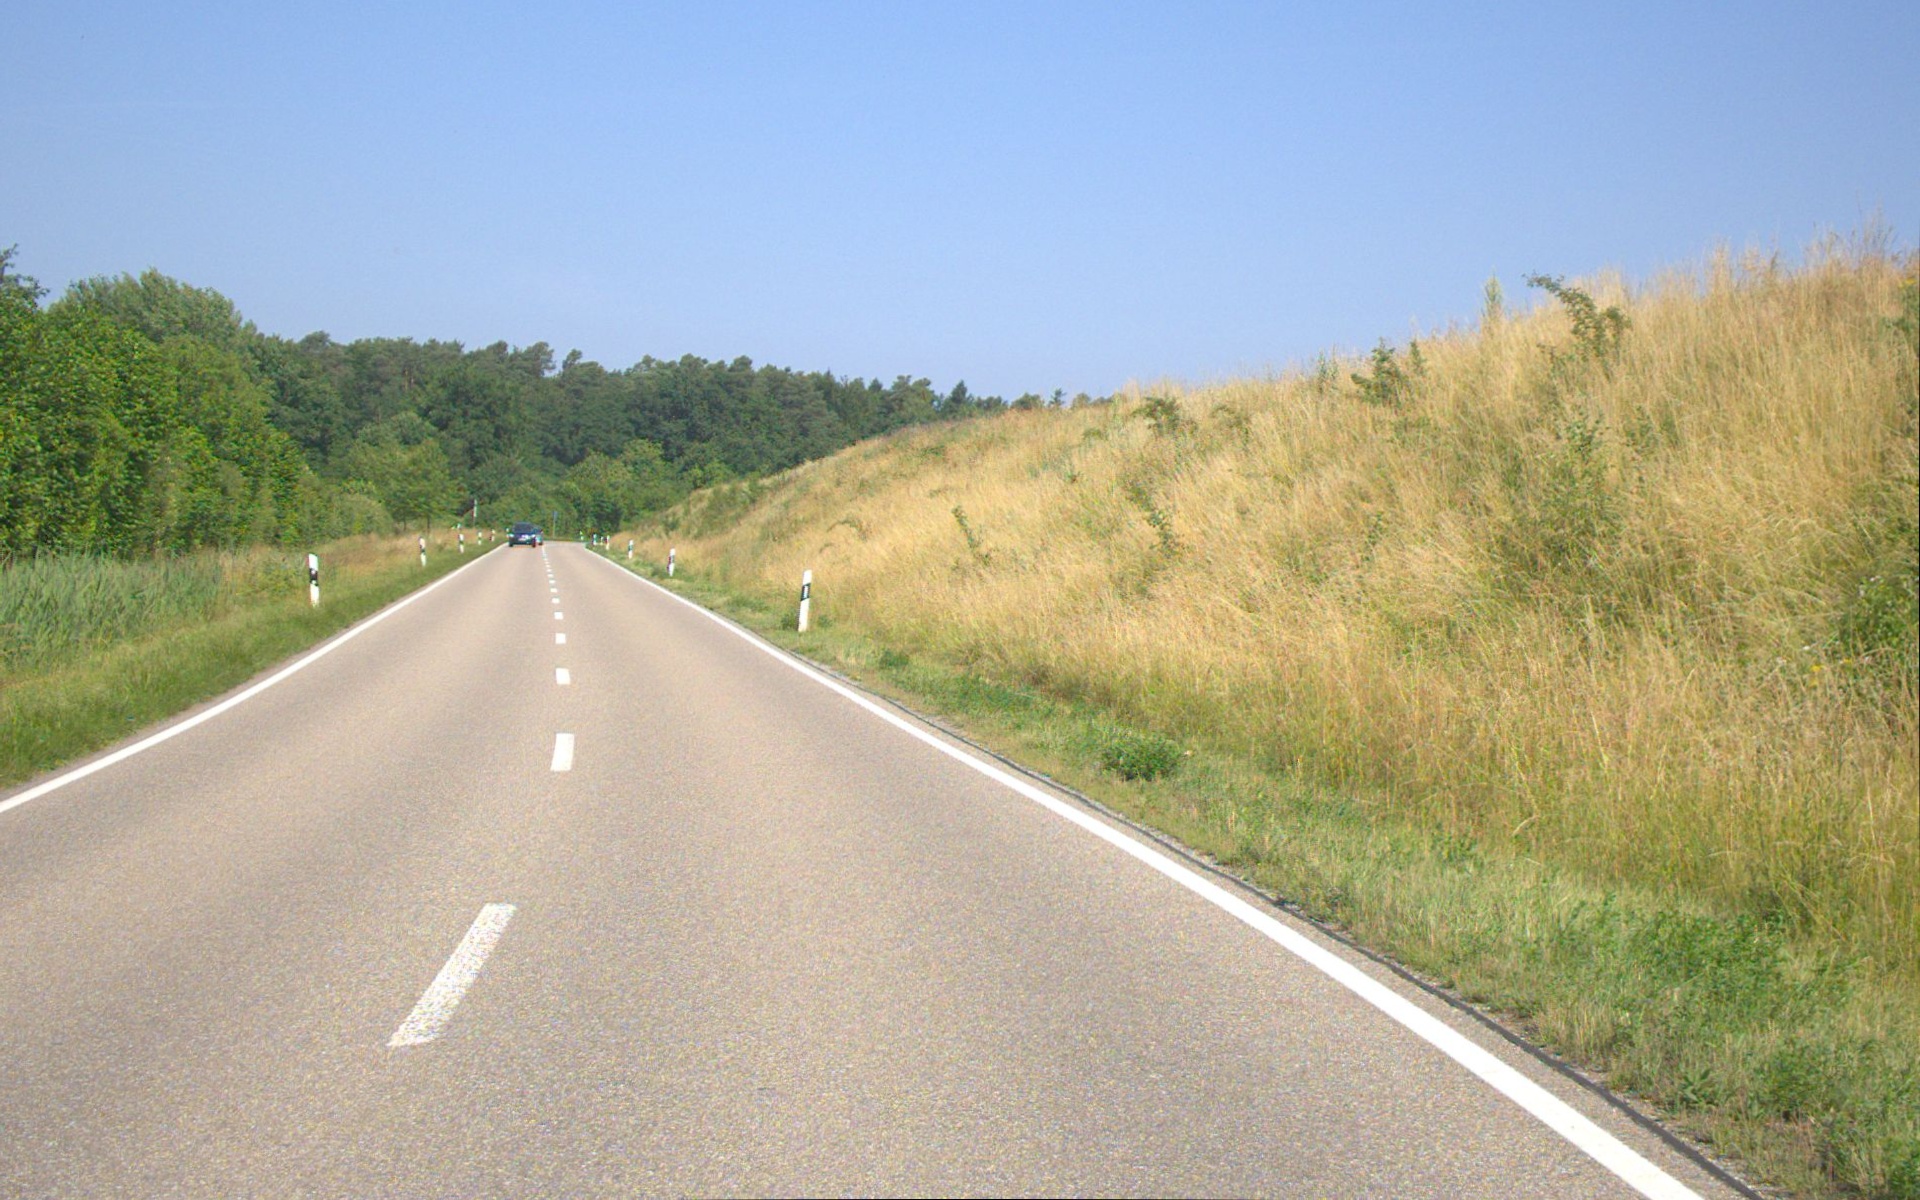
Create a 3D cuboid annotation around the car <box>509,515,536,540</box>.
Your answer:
[{"bbox_3d":[-29.732,-4.936,233.694,1.715,1.641,3.916,2,1,-7],"label":"car"}]
